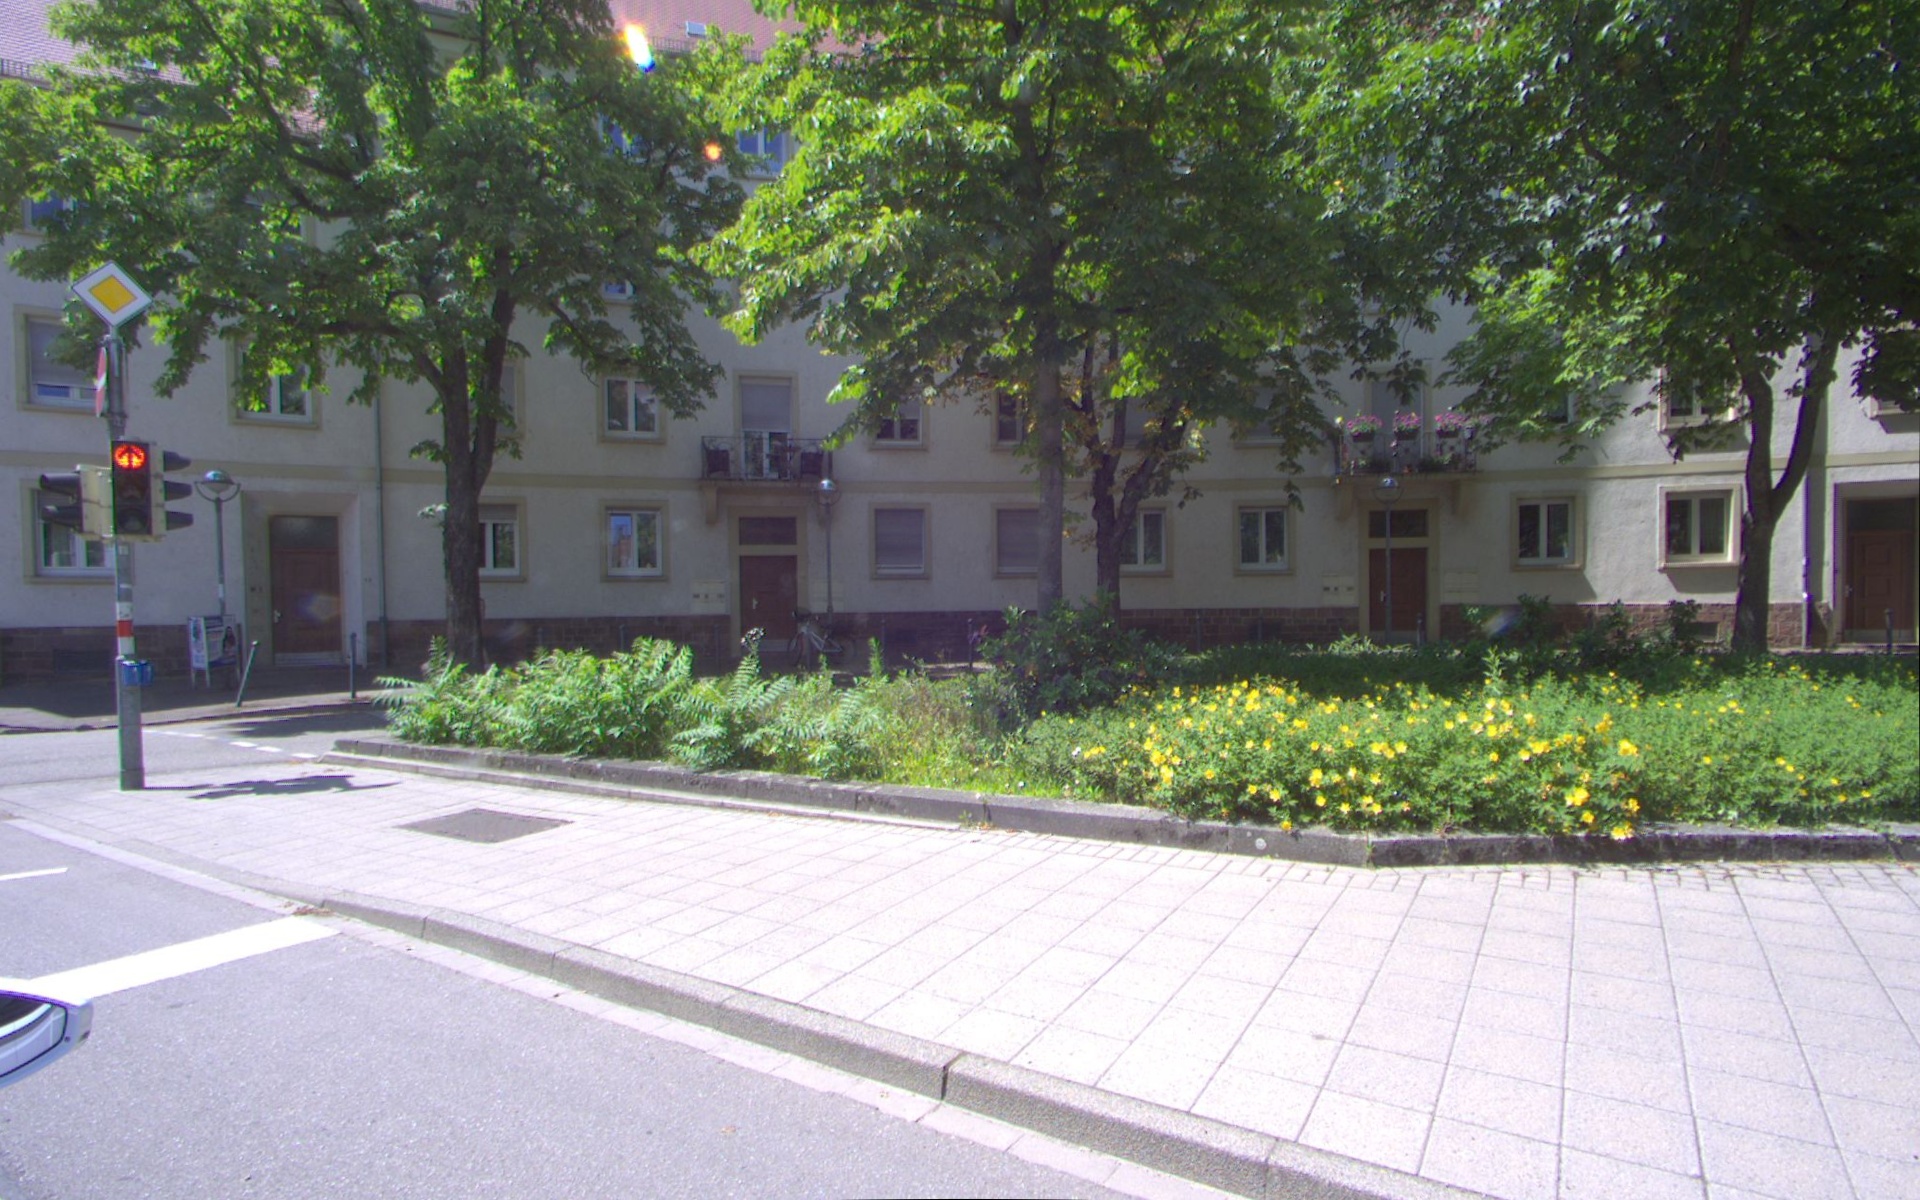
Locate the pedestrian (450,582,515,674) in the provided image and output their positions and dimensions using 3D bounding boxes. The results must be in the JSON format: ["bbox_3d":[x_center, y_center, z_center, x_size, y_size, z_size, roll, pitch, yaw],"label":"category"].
[{"bbox_3d":[-9.564,0.548,20.093,1.040,1.715,0.650,-4,7,-24],"label":"pedestrian"}]

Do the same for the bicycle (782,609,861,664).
[{"bbox_3d":[-2.878,0.756,20.865,1.575,1.119,0.525,-1,1,-4],"label":"bicycle"}]
